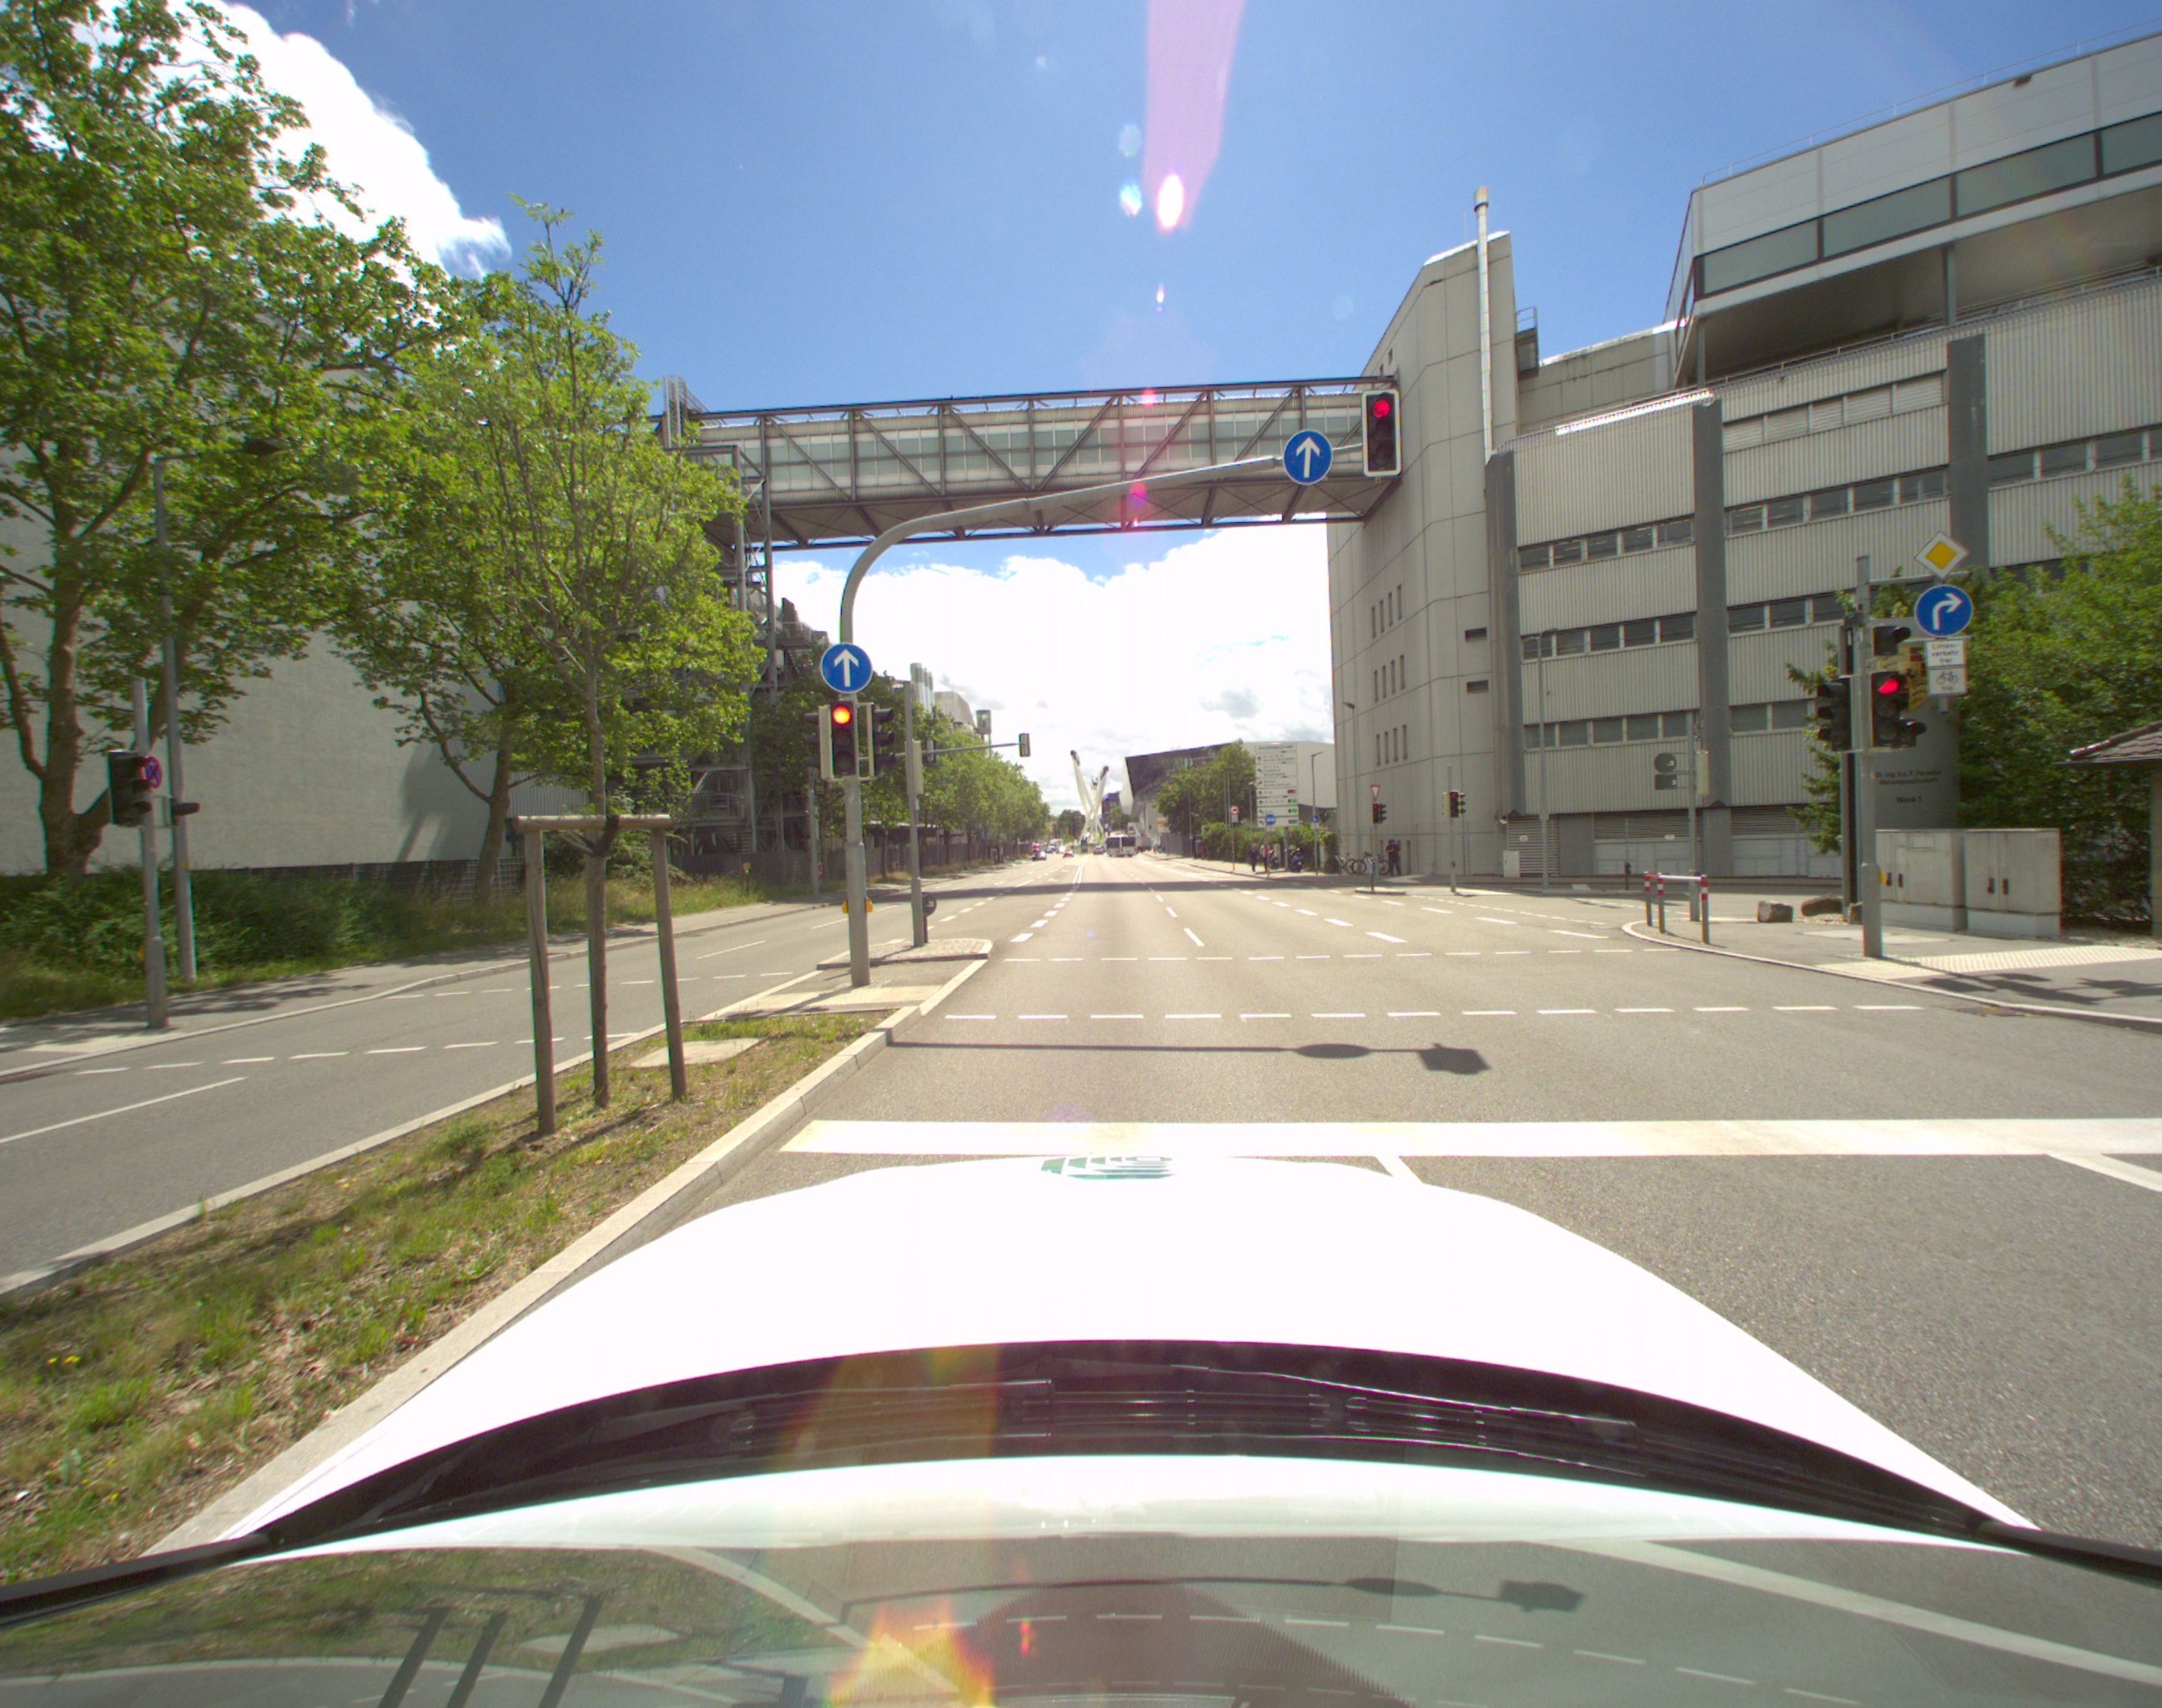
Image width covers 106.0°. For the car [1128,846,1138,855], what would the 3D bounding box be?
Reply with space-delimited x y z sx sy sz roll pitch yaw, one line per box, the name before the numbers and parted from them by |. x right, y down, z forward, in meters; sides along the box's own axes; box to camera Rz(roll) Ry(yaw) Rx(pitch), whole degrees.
car | 9.583 -0.636 149.342 1.732 1.741 3.693 -1 0 2

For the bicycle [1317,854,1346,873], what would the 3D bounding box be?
bicycle | 12.547 0.457 40.810 0.398 0.937 1.917 -1 0 -17

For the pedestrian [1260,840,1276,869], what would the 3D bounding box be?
pedestrian | 11.268 0.030 49.075 0.817 1.741 0.637 -1 0 1

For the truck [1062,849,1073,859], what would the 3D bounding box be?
truck | -2.226 -0.004 133.433 1.580 1.537 3.673 -1 0 -4

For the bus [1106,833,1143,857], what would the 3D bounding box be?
bus | 6.643 -1.375 127.024 3.453 3.543 10.569 -1 0 -10

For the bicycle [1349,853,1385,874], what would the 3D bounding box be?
bicycle | 13.490 0.456 38.498 0.399 0.937 1.913 -1 0 -24

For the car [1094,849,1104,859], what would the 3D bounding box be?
car | 3.253 -0.062 148.885 1.732 1.741 3.693 -1 0 2

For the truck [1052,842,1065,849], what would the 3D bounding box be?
truck | -6.339 -2.429 227.701 1.744 2.013 4.469 -1 0 24

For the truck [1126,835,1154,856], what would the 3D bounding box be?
truck | 12.531 -1.787 171.627 3.424 4.391 9.466 -1 0 19

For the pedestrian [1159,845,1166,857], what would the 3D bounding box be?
pedestrian | 13.927 -0.562 138.838 1.026 2.014 0.884 0 -1 -2

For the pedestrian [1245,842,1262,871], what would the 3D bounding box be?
pedestrian | 10.433 0.140 49.240 0.817 1.707 0.881 -1 0 1

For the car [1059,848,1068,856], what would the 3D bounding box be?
car | -3.883 -0.410 178.945 1.815 1.537 3.673 -3 0 -4

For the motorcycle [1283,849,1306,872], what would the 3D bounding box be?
motorcycle | 11.715 0.329 44.756 0.703 1.203 2.025 -3 1 2

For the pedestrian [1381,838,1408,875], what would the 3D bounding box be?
pedestrian | 14.226 0.106 36.951 0.839 1.624 0.962 -1 0 43

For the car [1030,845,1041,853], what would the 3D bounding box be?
car | -11.651 -1.191 209.723 1.981 2.013 4.012 -1 0 11

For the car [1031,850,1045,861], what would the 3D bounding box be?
car | -6.422 0.170 122.881 1.813 1.537 3.678 -3 0 0

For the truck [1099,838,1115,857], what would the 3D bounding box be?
truck | 5.526 -1.358 172.536 2.378 3.897 6.192 -1 0 9

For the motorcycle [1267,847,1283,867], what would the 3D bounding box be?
motorcycle | 12.537 0.203 52.602 0.572 1.203 2.025 -3 1 2

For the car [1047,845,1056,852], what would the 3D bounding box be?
car | -6.883 -1.183 190.866 1.815 1.537 3.673 -3 0 -4

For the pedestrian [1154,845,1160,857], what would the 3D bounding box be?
pedestrian | 12.860 -0.569 137.779 1.026 2.014 0.884 0 -1 -2
